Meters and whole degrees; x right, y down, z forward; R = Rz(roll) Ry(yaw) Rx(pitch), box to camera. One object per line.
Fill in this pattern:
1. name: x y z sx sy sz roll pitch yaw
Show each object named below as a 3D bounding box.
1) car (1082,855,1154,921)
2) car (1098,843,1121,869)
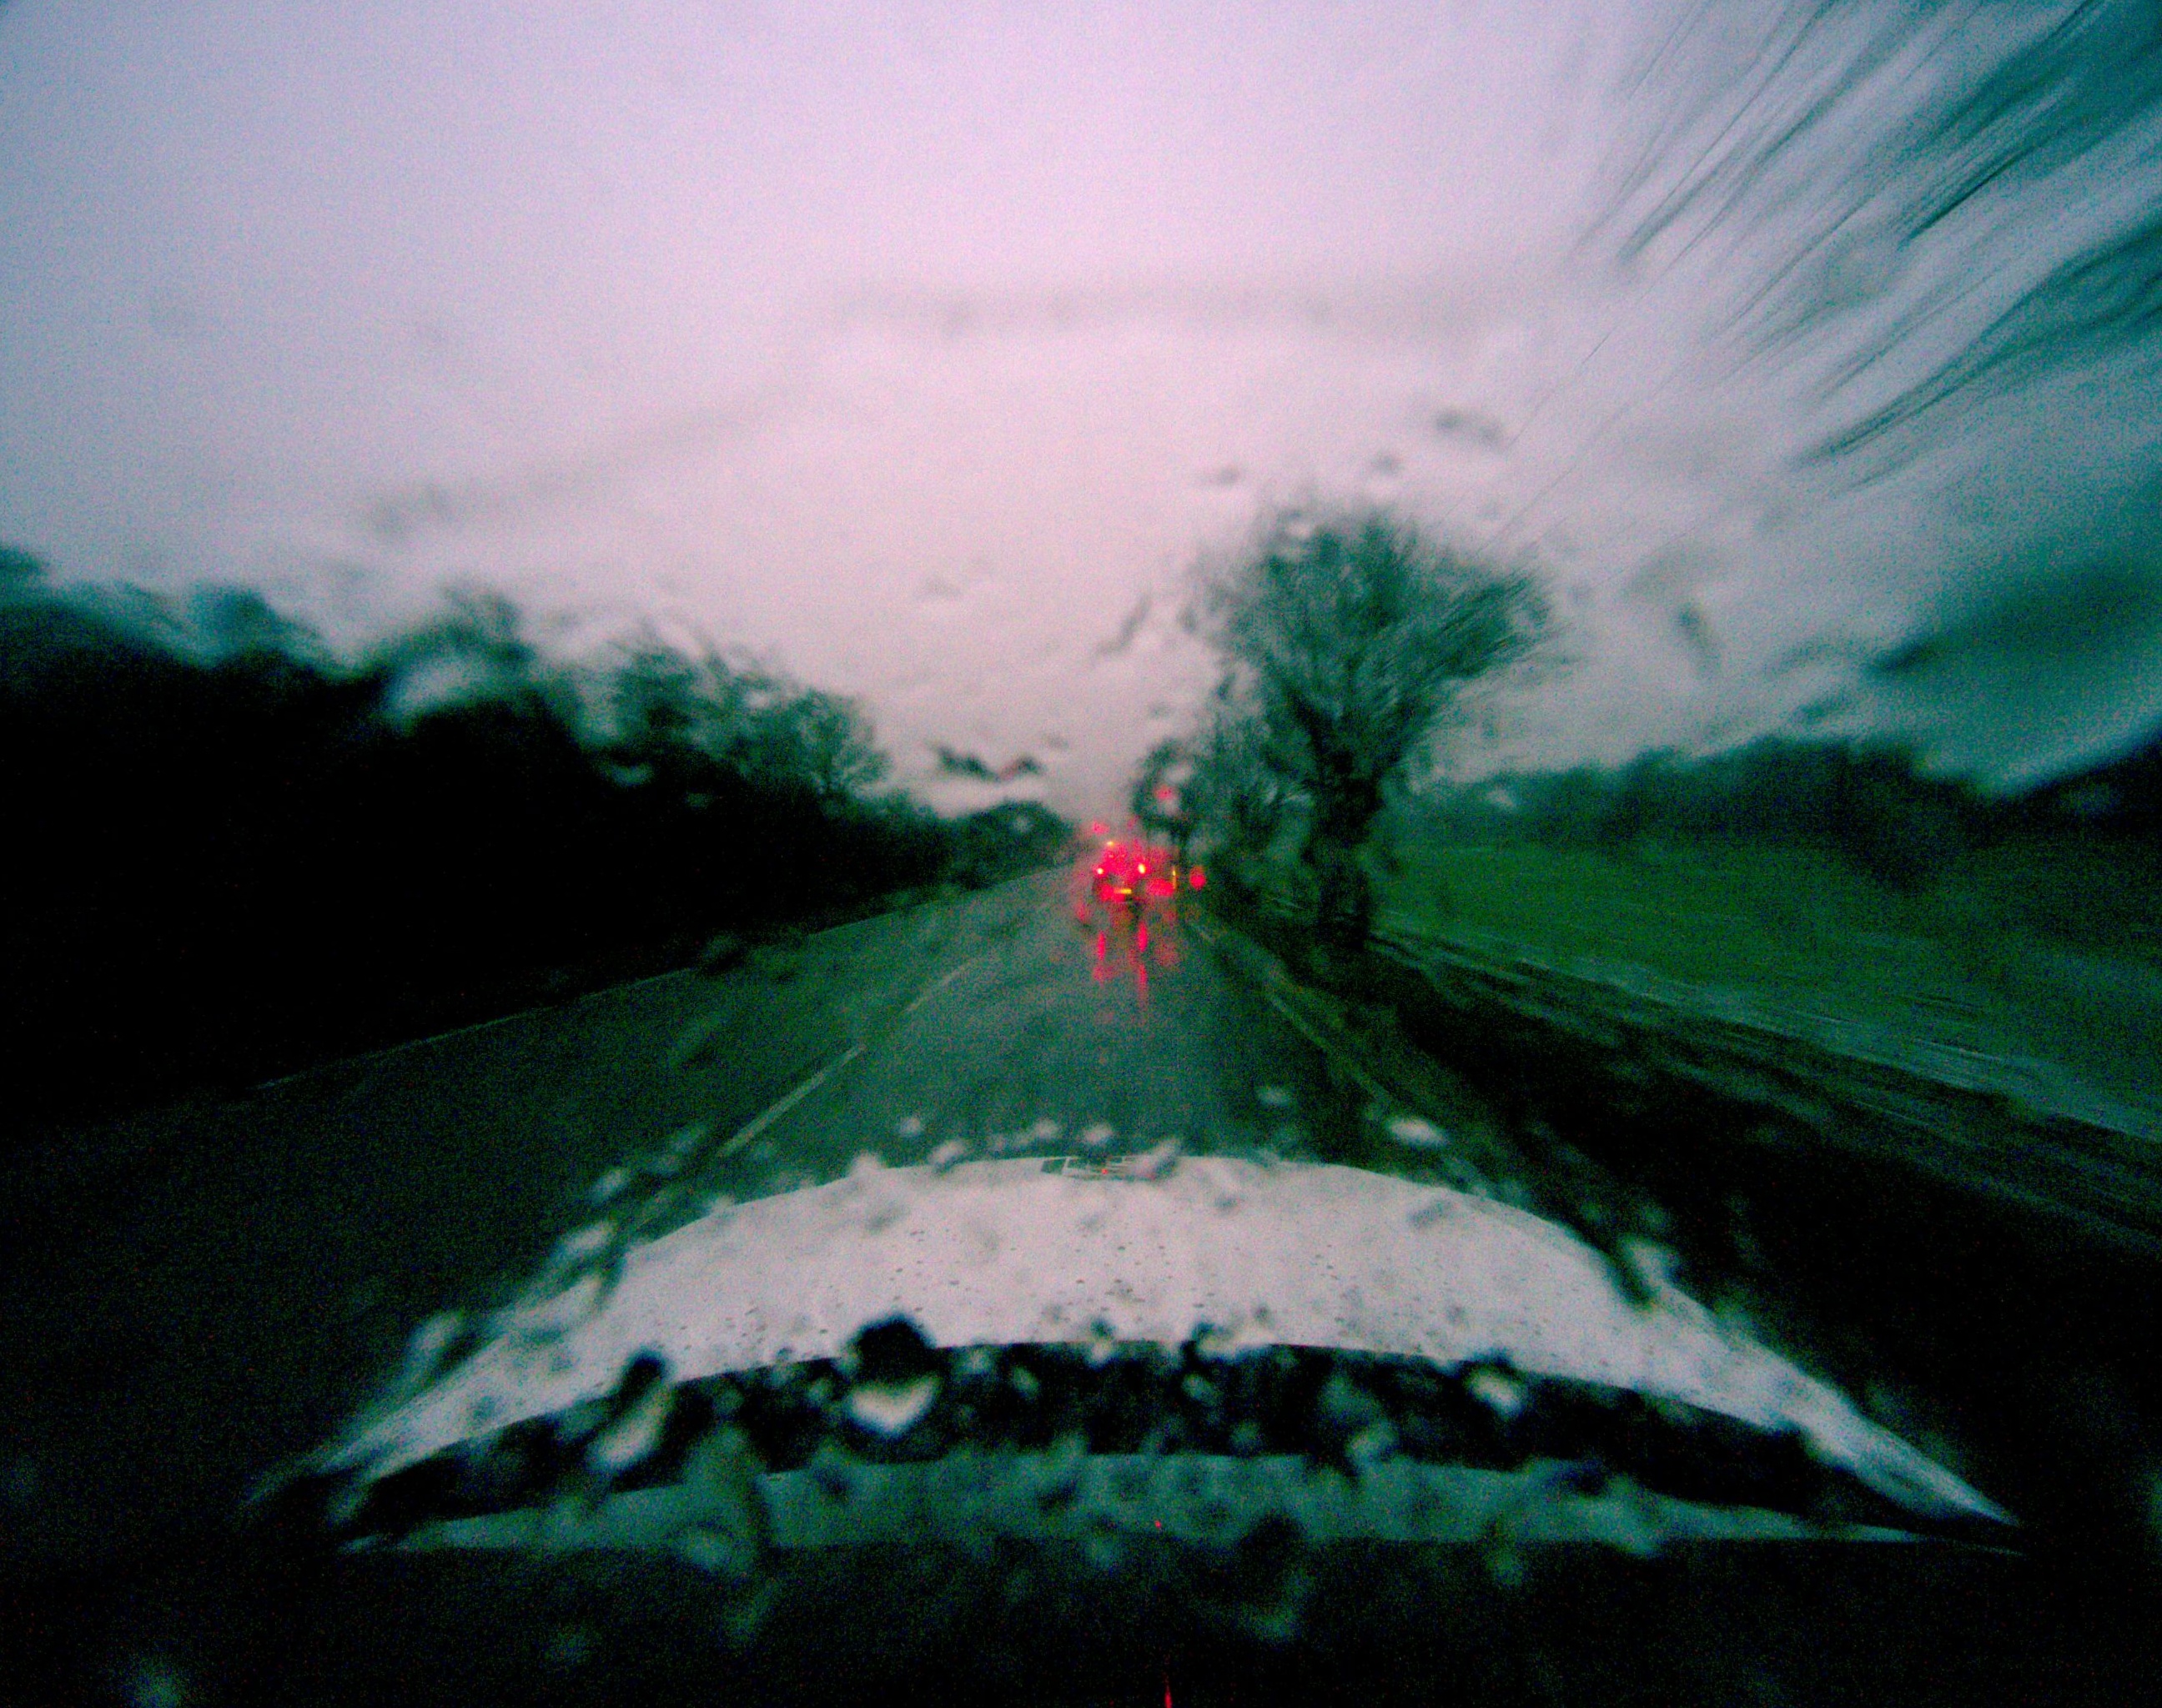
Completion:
1. car: 1.140 0.958 24.878 1.985 1.752 4.003 -1 1 3
2. car: 2.763 0.164 78.728 1.985 2.012 4.007 3 5 4
